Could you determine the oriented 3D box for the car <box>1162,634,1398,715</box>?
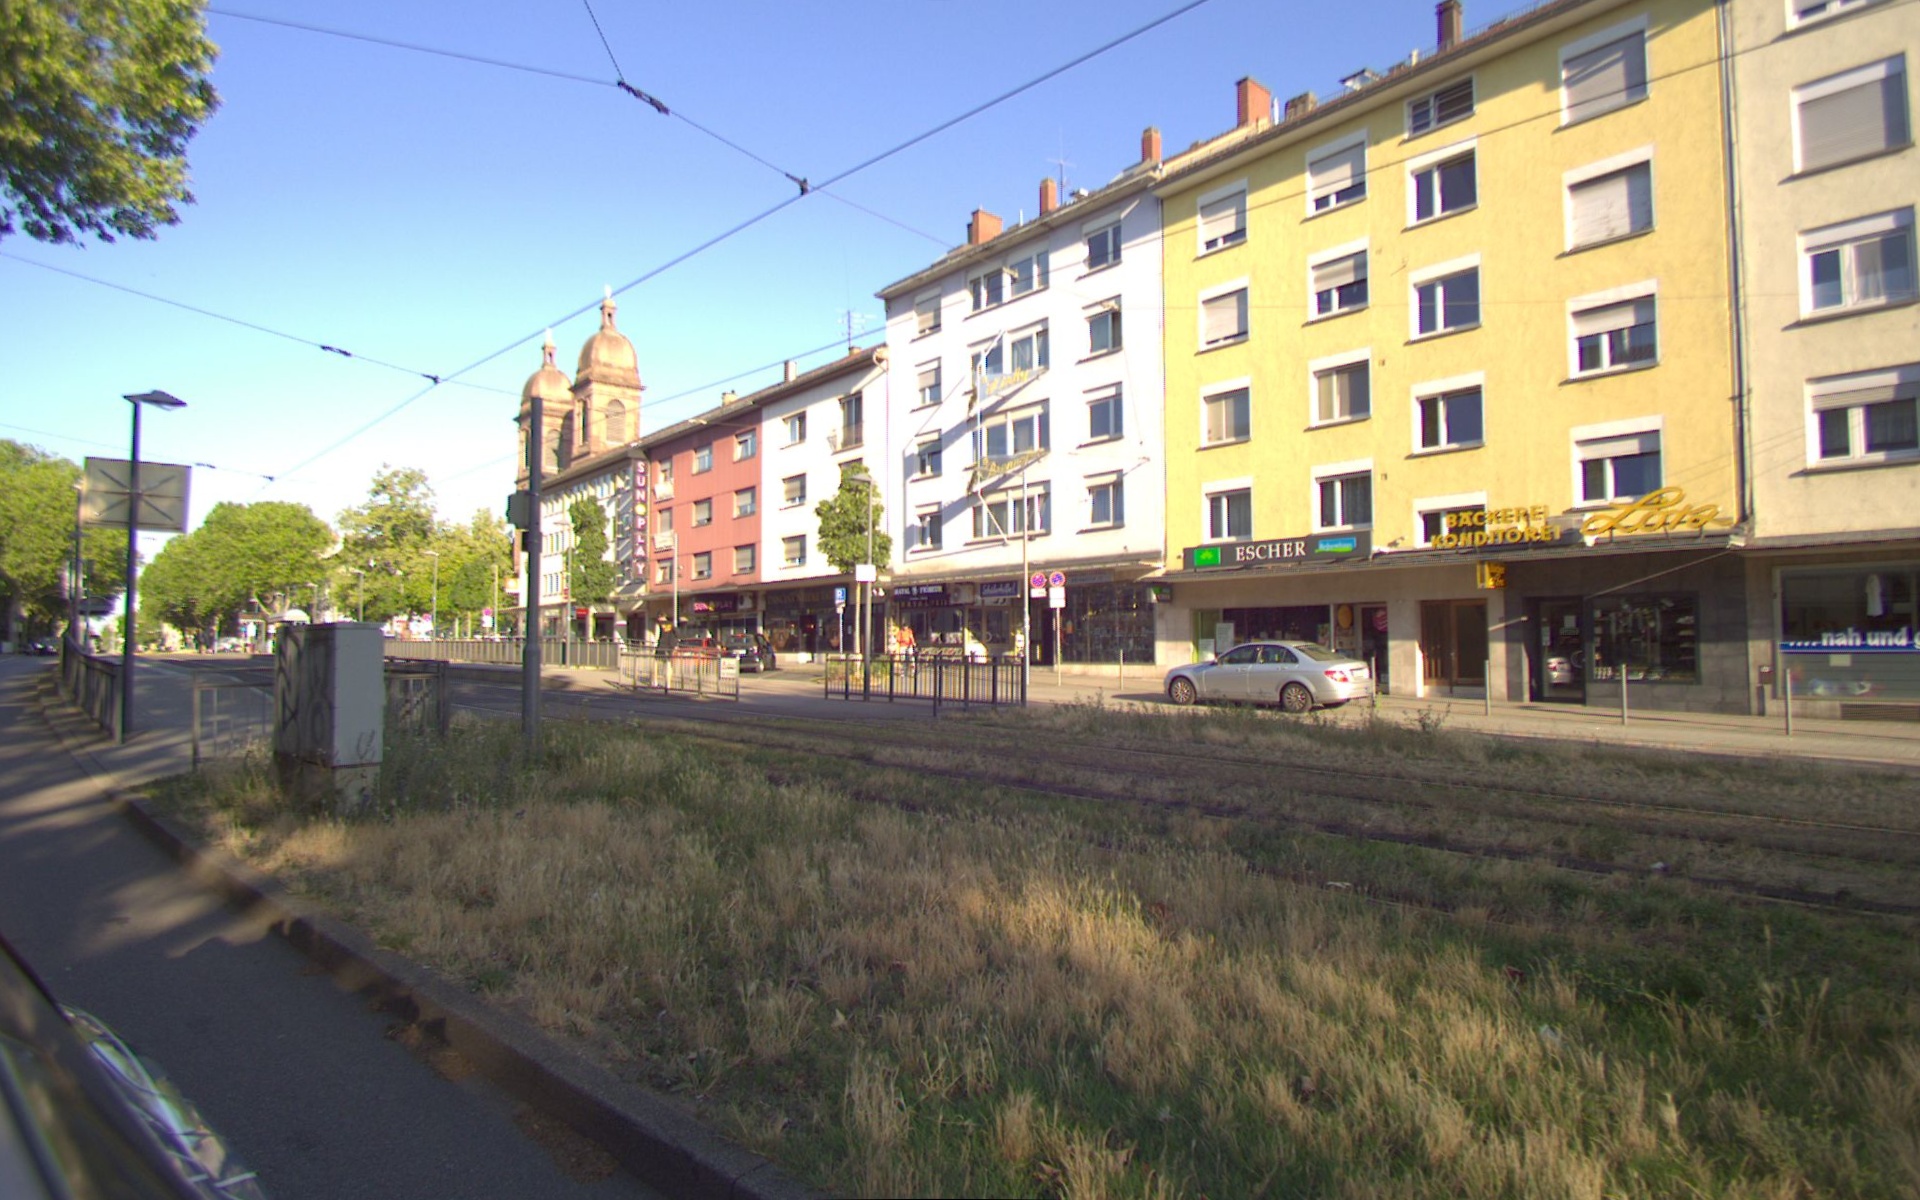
[{"bbox_3d":[6.768,1.511,21.739,1.970,1.489,4.414,-1,-1,-44],"label":"car"}]

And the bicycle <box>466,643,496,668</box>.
[{"bbox_3d":[-24.299,2.813,51.338,0.709,1.239,2.281,3,-4,-42],"label":"bicycle"}]

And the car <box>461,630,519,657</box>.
[{"bbox_3d":[-29.145,2.682,62.894,1.719,1.497,3.998,-1,-1,1],"label":"car"}]

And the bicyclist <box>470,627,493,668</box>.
[{"bbox_3d":[-24.261,2.406,51.323,0.754,2.029,0.912,3,-4,-42],"label":"bicyclist"}]

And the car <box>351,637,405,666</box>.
[{"bbox_3d":[-36.492,3.218,63.386,1.970,1.730,4.440,2,-3,-43],"label":"car"}]

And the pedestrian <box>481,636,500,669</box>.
[{"bbox_3d":[-25.856,2.893,55.756,0.756,1.801,0.726,-1,-1,-40],"label":"pedestrian"}]

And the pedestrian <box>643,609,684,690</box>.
[{"bbox_3d":[-6.985,1.157,23.841,0.590,1.863,0.733,-3,-3,43],"label":"pedestrian"}]

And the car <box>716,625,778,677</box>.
[{"bbox_3d":[-8.325,1.975,39.876,1.836,1.813,3.773,-2,0,-3],"label":"car"}]

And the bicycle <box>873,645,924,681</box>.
[{"bbox_3d":[-2.072,2.068,33.599,0.696,1.168,2.204,2,-3,-33],"label":"bicycle"}]

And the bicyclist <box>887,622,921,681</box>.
[{"bbox_3d":[-1.852,1.686,33.267,0.683,1.901,1.060,2,-3,-33],"label":"bicyclist"}]

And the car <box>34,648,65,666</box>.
[{"bbox_3d":[-76.152,4.751,84.667,4.002,1.409,1.694,-2,-1,45],"label":"car"}]

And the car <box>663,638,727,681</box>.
[{"bbox_3d":[-10.828,2.406,41.607,1.836,1.502,3.773,-2,0,-3],"label":"car"}]
